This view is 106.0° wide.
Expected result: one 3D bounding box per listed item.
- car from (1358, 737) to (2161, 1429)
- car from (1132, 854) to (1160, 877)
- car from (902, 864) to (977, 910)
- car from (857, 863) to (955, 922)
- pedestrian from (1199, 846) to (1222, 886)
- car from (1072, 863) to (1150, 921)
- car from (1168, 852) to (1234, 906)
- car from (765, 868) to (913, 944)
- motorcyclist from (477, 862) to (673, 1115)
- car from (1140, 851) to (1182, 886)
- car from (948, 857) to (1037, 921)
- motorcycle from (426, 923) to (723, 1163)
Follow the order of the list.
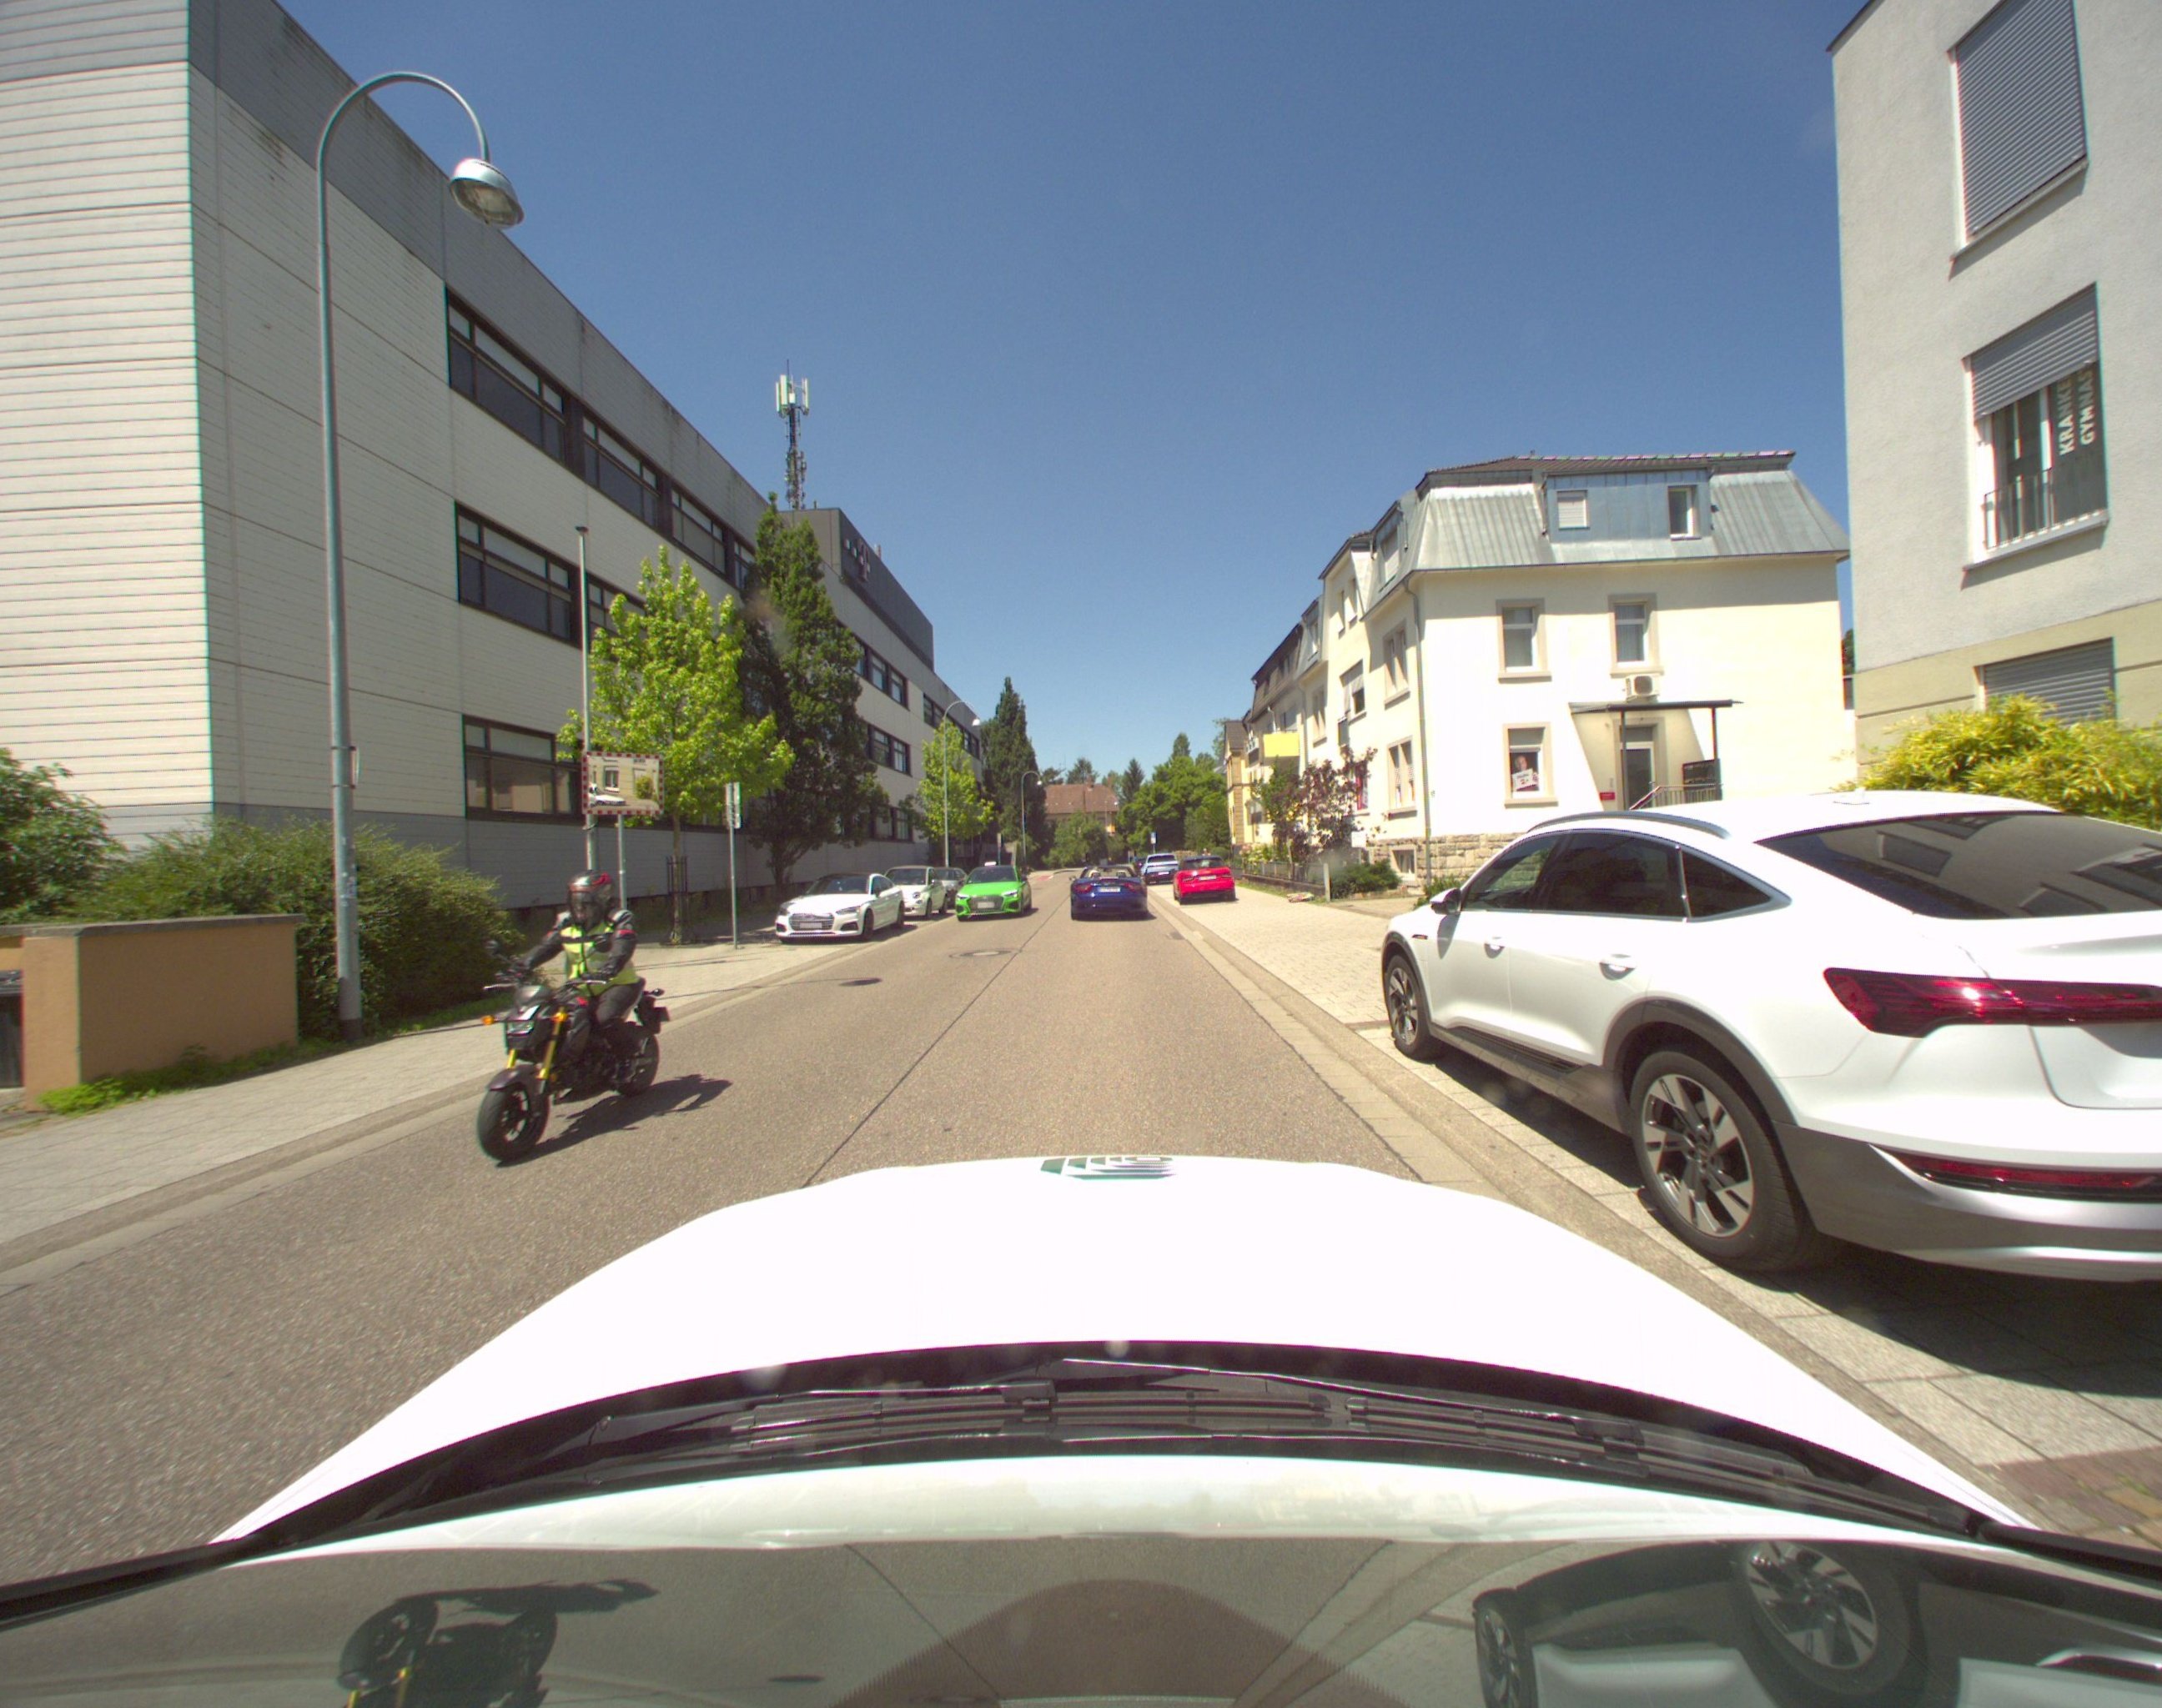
[{"bbox_3d":[3.034,0.540,4.266,1.698,1.666,4.582,-2,0,2],"label":"car"},{"bbox_3d":[4.505,0.770,57.114,1.626,1.446,4.399,-5,0,2],"label":"car"},{"bbox_3d":[-4.952,1.128,28.940,1.741,1.409,3.936,-2,0,3],"label":"car"},{"bbox_3d":[-5.055,1.065,24.112,1.815,1.512,4.291,-2,0,2],"label":"car"},{"bbox_3d":[5.585,0.516,35.143,0.738,1.669,0.706,-5,0,0],"label":"pedestrian"},{"bbox_3d":[0.775,0.918,21.489,1.820,1.337,4.702,-1,-1,2],"label":"car"},{"bbox_3d":[3.710,0.723,25.774,1.597,1.440,3.856,-5,0,3],"label":"car"},{"bbox_3d":[-5.266,1.071,18.401,1.815,1.411,4.579,-1,0,2],"label":"car"},{"bbox_3d":[-3.137,0.790,5.118,0.696,1.433,0.707,-4,-1,2],"label":"motorcyclist"},{"bbox_3d":[4.139,0.724,42.724,1.836,1.619,4.429,-4,0,2],"label":"car"},{"bbox_3d":[-2.424,0.934,23.365,1.815,1.588,4.103,-3,0,3],"label":"car"},{"bbox_3d":[-3.119,1.091,5.275,0.696,1.107,1.791,-4,-1,2],"label":"motorcycle"}]
